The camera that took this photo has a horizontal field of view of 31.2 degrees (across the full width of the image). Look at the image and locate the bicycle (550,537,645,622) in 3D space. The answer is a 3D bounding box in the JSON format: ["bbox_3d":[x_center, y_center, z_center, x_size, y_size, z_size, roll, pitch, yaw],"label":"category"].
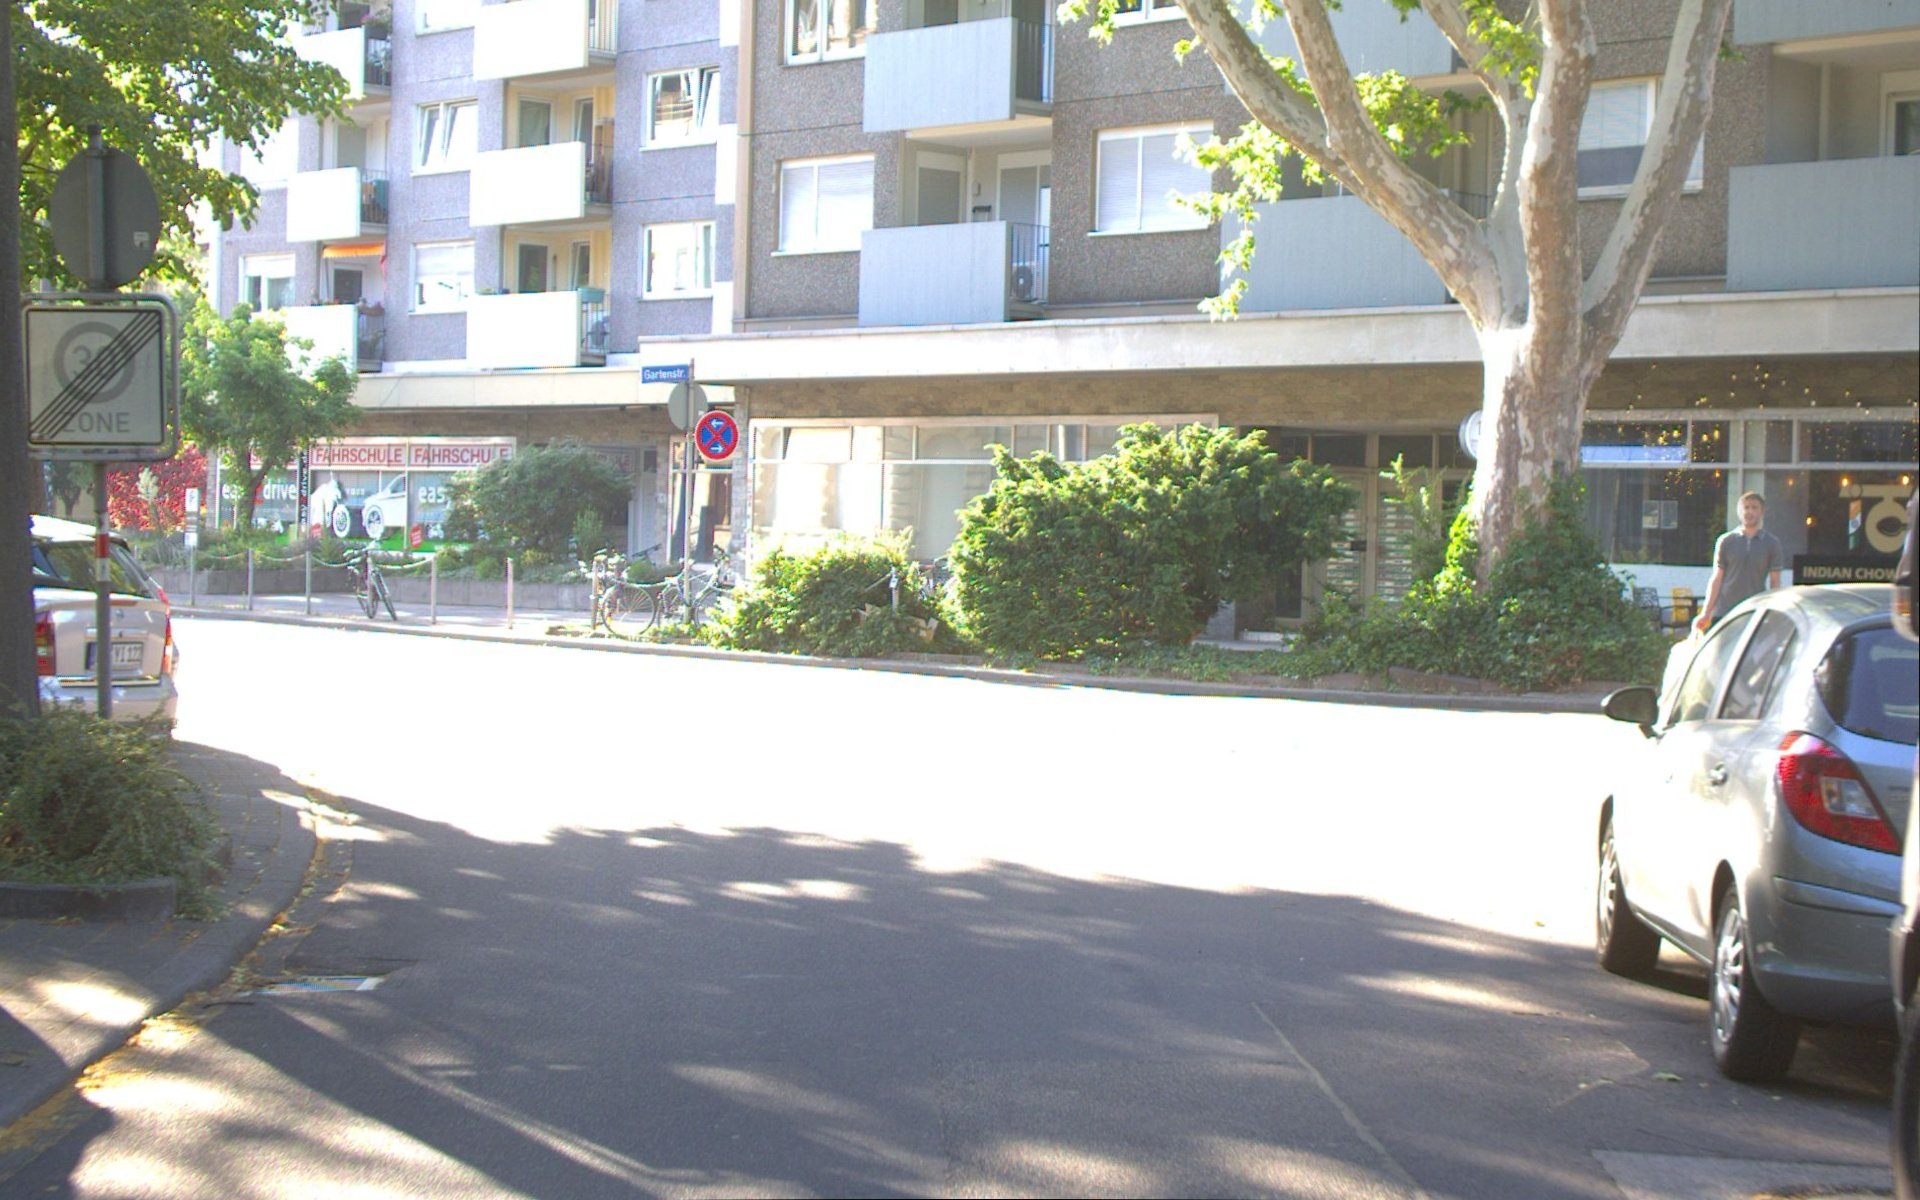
[{"bbox_3d":[-4.581,-0.272,43.343,0.638,1.019,2.089,1,1,-21],"label":"bicycle"}]

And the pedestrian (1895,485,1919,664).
[{"bbox_3d":[9.356,-0.239,32.583,0.684,1.686,0.644,0,1,-39],"label":"pedestrian"}]

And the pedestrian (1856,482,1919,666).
[{"bbox_3d":[9.226,-0.254,33.503,0.684,1.767,0.636,0,1,-39],"label":"pedestrian"}]

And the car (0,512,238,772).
[{"bbox_3d":[-6.531,0.141,20.268,4.030,1.401,1.773,3,1,14],"label":"car"}]

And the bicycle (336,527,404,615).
[{"bbox_3d":[-8.538,-0.435,49.658,0.638,1.222,2.089,1,1,-19],"label":"bicycle"}]

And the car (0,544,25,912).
[{"bbox_3d":[-4.651,0.414,8.585,4.192,1.434,1.829,5,1,24],"label":"car"}]

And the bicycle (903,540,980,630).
[{"bbox_3d":[-0.223,-0.186,40.814,0.348,1.034,1.052,0,2,-35],"label":"bicycle"}]

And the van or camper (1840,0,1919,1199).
[{"bbox_3d":[3.000,0.098,4.559,2.084,2.753,5.846,2,1,0],"label":"van or camper"}]

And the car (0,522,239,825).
[{"bbox_3d":[-5.904,0.221,17.379,3.975,1.360,1.773,5,1,15],"label":"car"}]

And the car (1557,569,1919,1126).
[{"bbox_3d":[3.093,0.694,11.273,1.680,1.441,3.871,4,1,3],"label":"car"}]

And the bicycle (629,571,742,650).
[{"bbox_3d":[-3.321,0.121,41.470,0.542,0.901,1.736,0,1,-35],"label":"bicycle"}]

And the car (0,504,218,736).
[{"bbox_3d":[-7.346,0.028,22.983,4.283,1.424,1.773,3,1,16],"label":"car"}]

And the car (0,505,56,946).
[{"bbox_3d":[-5.274,0.275,11.771,3.878,1.488,1.829,5,1,26],"label":"car"}]

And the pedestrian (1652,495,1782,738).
[{"bbox_3d":[5.647,0.113,25.664,0.812,1.775,0.716,1,1,4],"label":"pedestrian"}]
